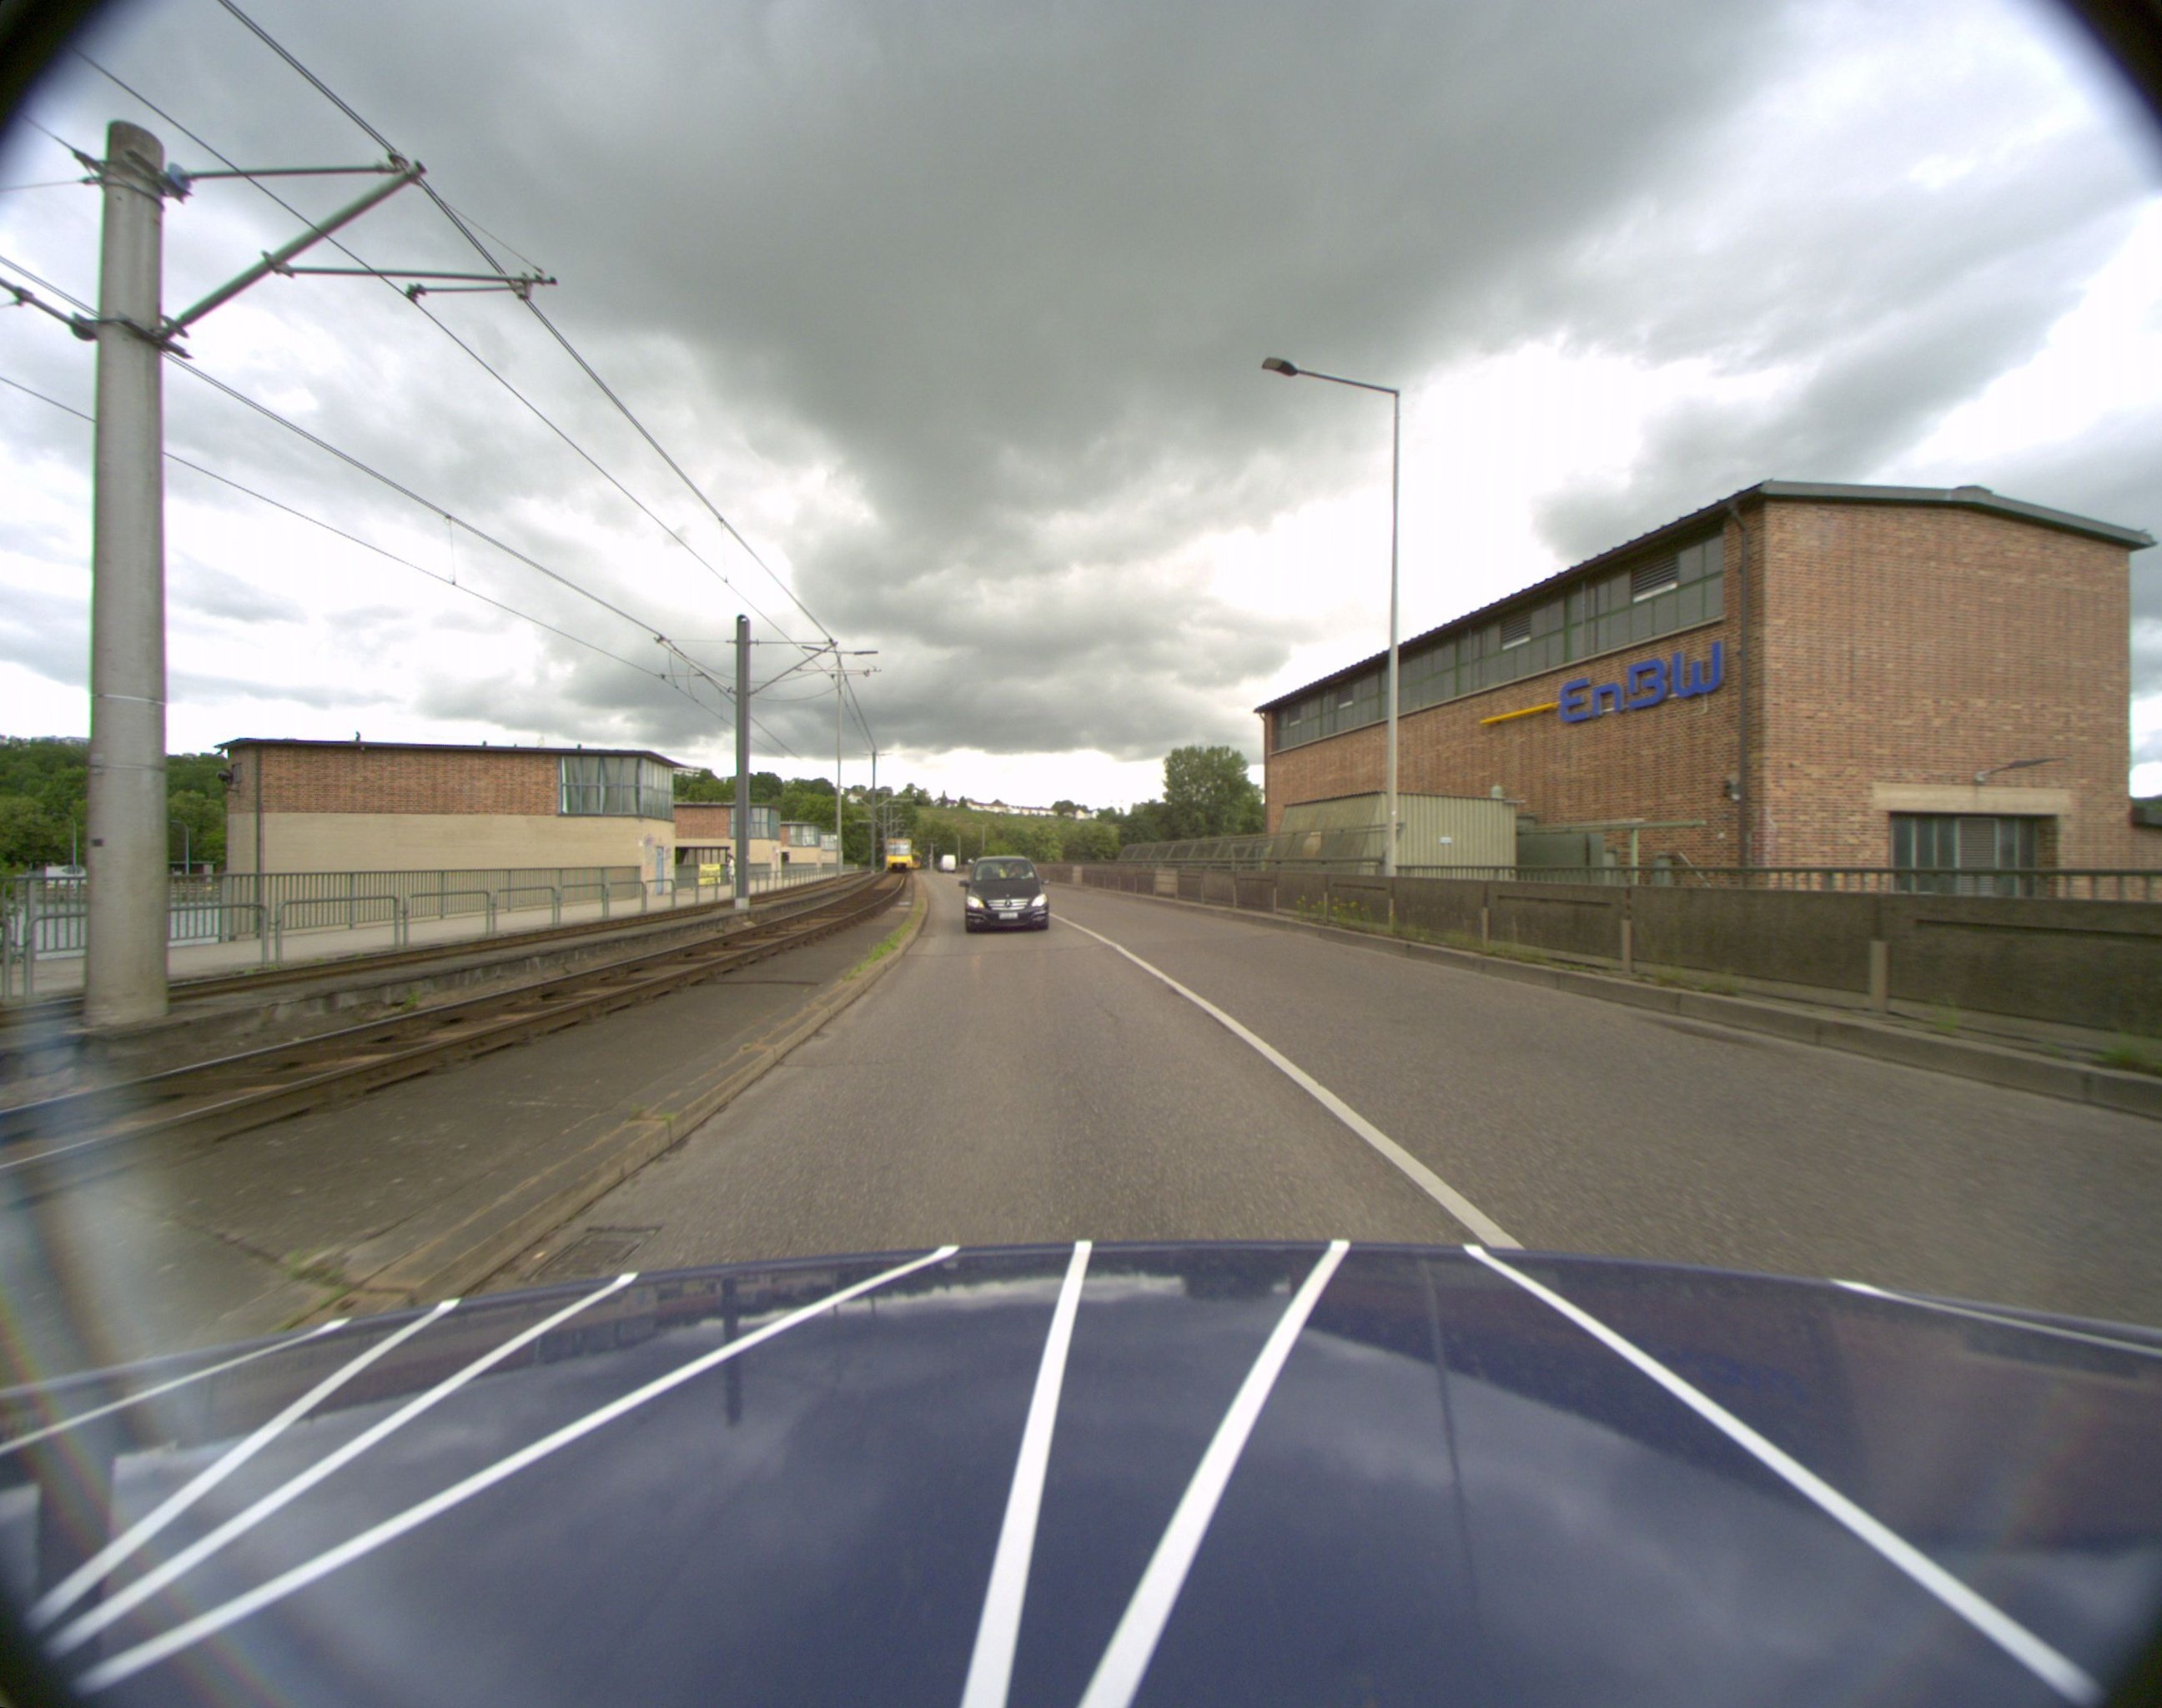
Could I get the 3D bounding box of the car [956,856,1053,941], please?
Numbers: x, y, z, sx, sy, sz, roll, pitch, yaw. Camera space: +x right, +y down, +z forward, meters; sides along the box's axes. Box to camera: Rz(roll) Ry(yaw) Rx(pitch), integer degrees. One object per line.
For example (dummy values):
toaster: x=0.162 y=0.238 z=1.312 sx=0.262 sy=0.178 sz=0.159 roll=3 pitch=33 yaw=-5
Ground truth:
car: x=-1.754 y=0.905 z=17.259 sx=1.861 sy=1.612 sz=3.998 roll=-3 pitch=0 yaw=-6

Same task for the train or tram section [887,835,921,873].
train or tram section: x=-19.385 y=0.007 z=83.794 sx=3.033 sy=3.895 sz=9.434 roll=0 pitch=0 yaw=-10

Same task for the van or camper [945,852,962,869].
van or camper: x=-19.149 y=0.952 z=114.117 sx=2.158 sy=2.461 sz=4.705 roll=-1 pitch=0 yaw=-13

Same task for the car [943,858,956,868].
car: x=-21.812 y=1.443 z=126.119 sx=2.000 sy=1.565 sz=3.995 roll=-2 pitch=1 yaw=-11

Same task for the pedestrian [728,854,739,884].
pedestrian: x=-19.011 y=0.803 z=41.581 sx=0.512 sy=1.655 sz=0.352 roll=0 pitch=1 yaw=-17

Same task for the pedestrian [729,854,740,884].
pedestrian: x=-19.122 y=0.803 z=41.951 sx=0.512 sy=1.655 sz=0.352 roll=0 pitch=1 yaw=-17
